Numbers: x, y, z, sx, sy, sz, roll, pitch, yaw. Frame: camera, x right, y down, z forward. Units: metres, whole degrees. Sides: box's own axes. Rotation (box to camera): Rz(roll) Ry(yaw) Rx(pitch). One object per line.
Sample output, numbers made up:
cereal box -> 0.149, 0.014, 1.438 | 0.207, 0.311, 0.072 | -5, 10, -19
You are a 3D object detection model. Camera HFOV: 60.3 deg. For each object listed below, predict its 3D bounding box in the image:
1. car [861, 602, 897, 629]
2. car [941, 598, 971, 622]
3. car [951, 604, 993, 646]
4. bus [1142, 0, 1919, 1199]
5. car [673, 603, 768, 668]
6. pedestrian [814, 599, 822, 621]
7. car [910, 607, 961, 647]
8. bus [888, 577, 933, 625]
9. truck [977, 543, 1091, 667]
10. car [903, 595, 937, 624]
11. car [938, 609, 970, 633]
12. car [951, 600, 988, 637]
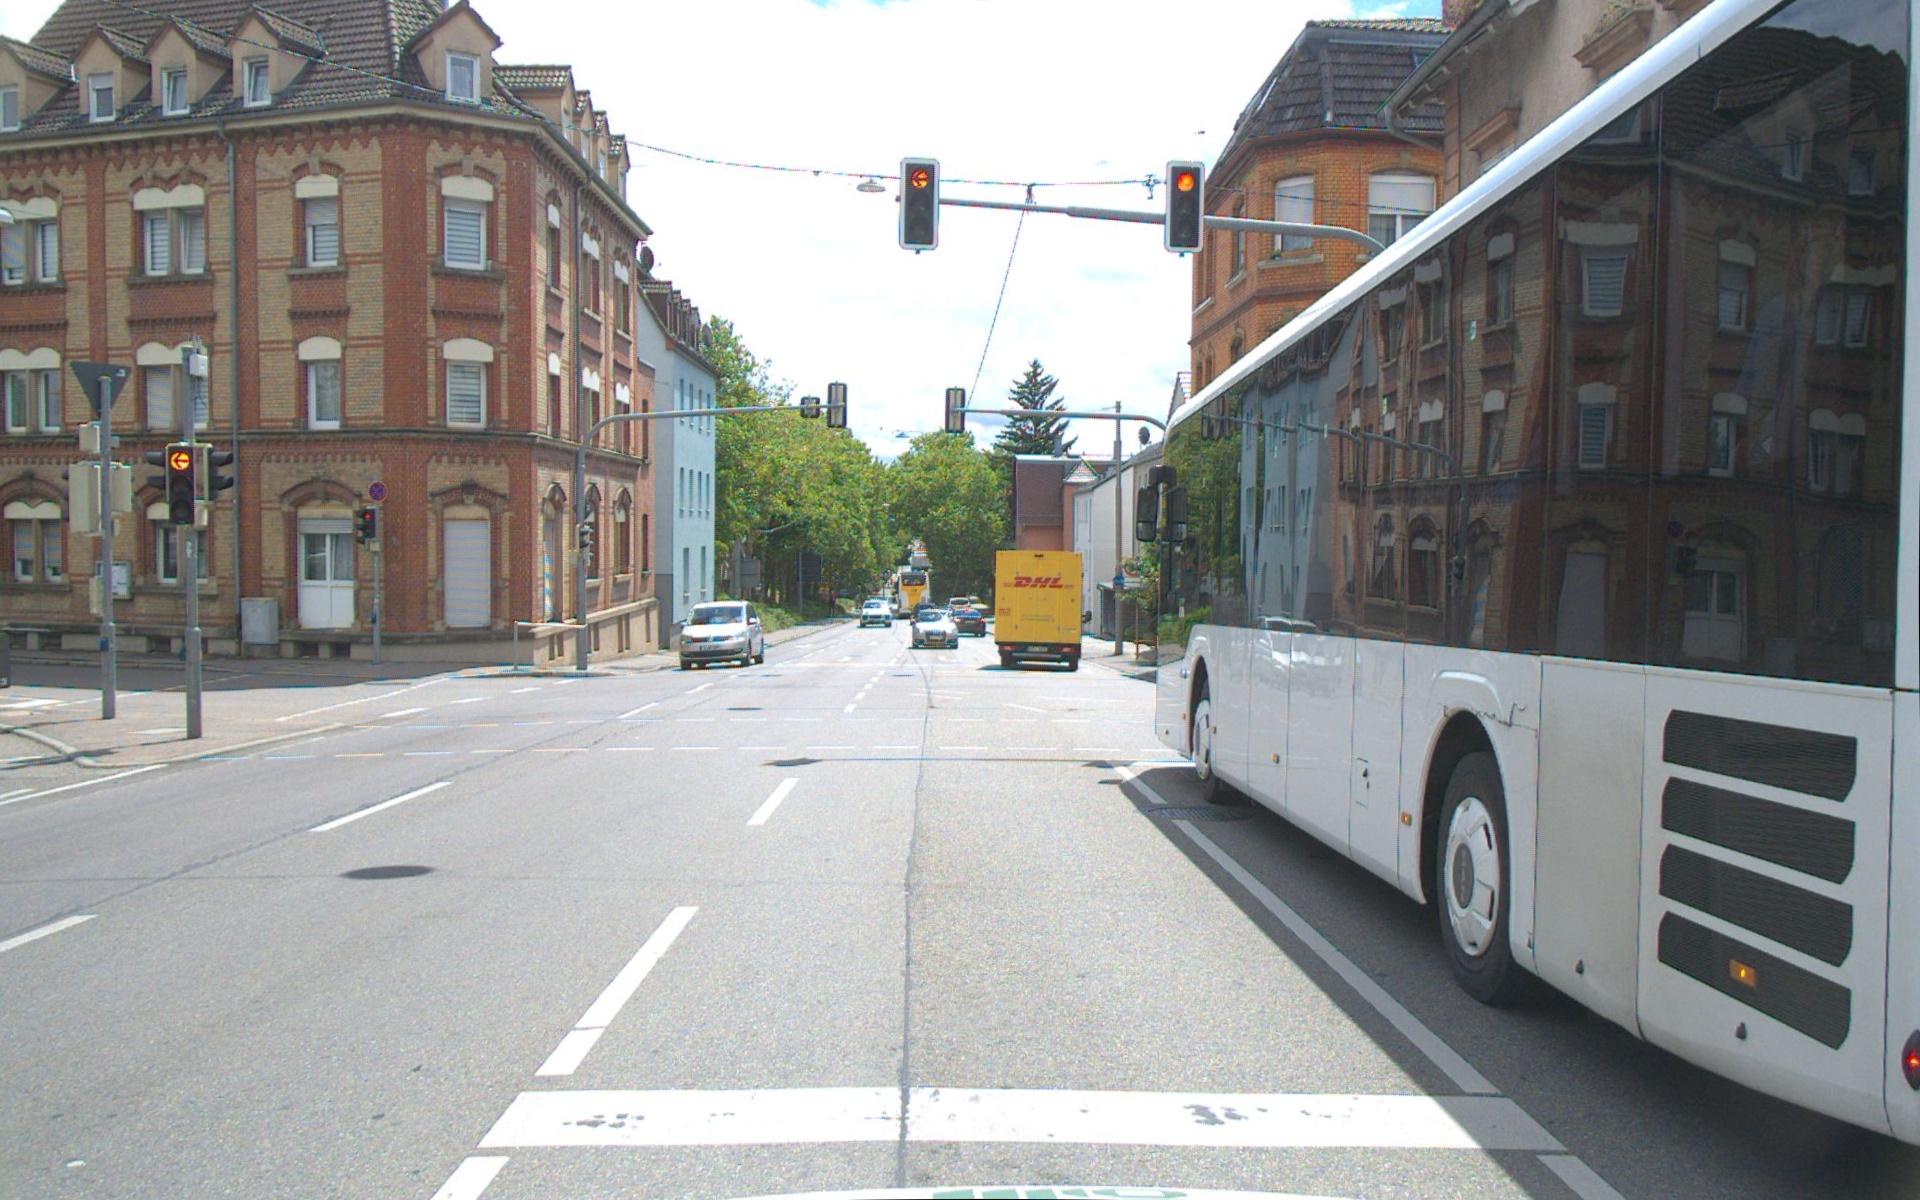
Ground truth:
car -> -5.192, 0.982, 106.646 | 2.162, 1.641, 4.546 | 0, 0, -1
car -> -0.330, 0.772, 129.606 | 2.050, 1.862, 4.139 | 0, 0, -4
car -> 0.601, 1.253, 84.950 | 1.954, 2.049, 3.998 | -1, 0, -3
bus -> 3.248, -0.325, 9.324 | 2.845, 3.571, 12.484 | 1, 0, -1
car -> -6.192, 0.887, 43.220 | 1.896, 1.591, 4.388 | 0, 0, -1
pedestrian -> -11.717, 0.850, 136.345 | 0.594, 1.789, 0.653 | 0, 0, -2
car -> -0.915, 0.963, 61.568 | 1.827, 1.391, 4.546 | 0, 0, -1
bus -> -4.147, 0.063, 136.266 | 3.235, 3.694, 11.235 | -1, 0, -4
truck -> 2.046, 0.135, 43.385 | 2.487, 2.964, 6.577 | 1, 0, 7
car -> -2.715, 0.635, 111.408 | 2.050, 1.862, 4.139 | 0, 0, -4
car -> -0.397, 1.227, 97.998 | 1.827, 1.391, 4.546 | 0, 0, -1
car -> 0.476, 0.925, 84.837 | 1.782, 1.816, 3.999 | 0, 0, -1
